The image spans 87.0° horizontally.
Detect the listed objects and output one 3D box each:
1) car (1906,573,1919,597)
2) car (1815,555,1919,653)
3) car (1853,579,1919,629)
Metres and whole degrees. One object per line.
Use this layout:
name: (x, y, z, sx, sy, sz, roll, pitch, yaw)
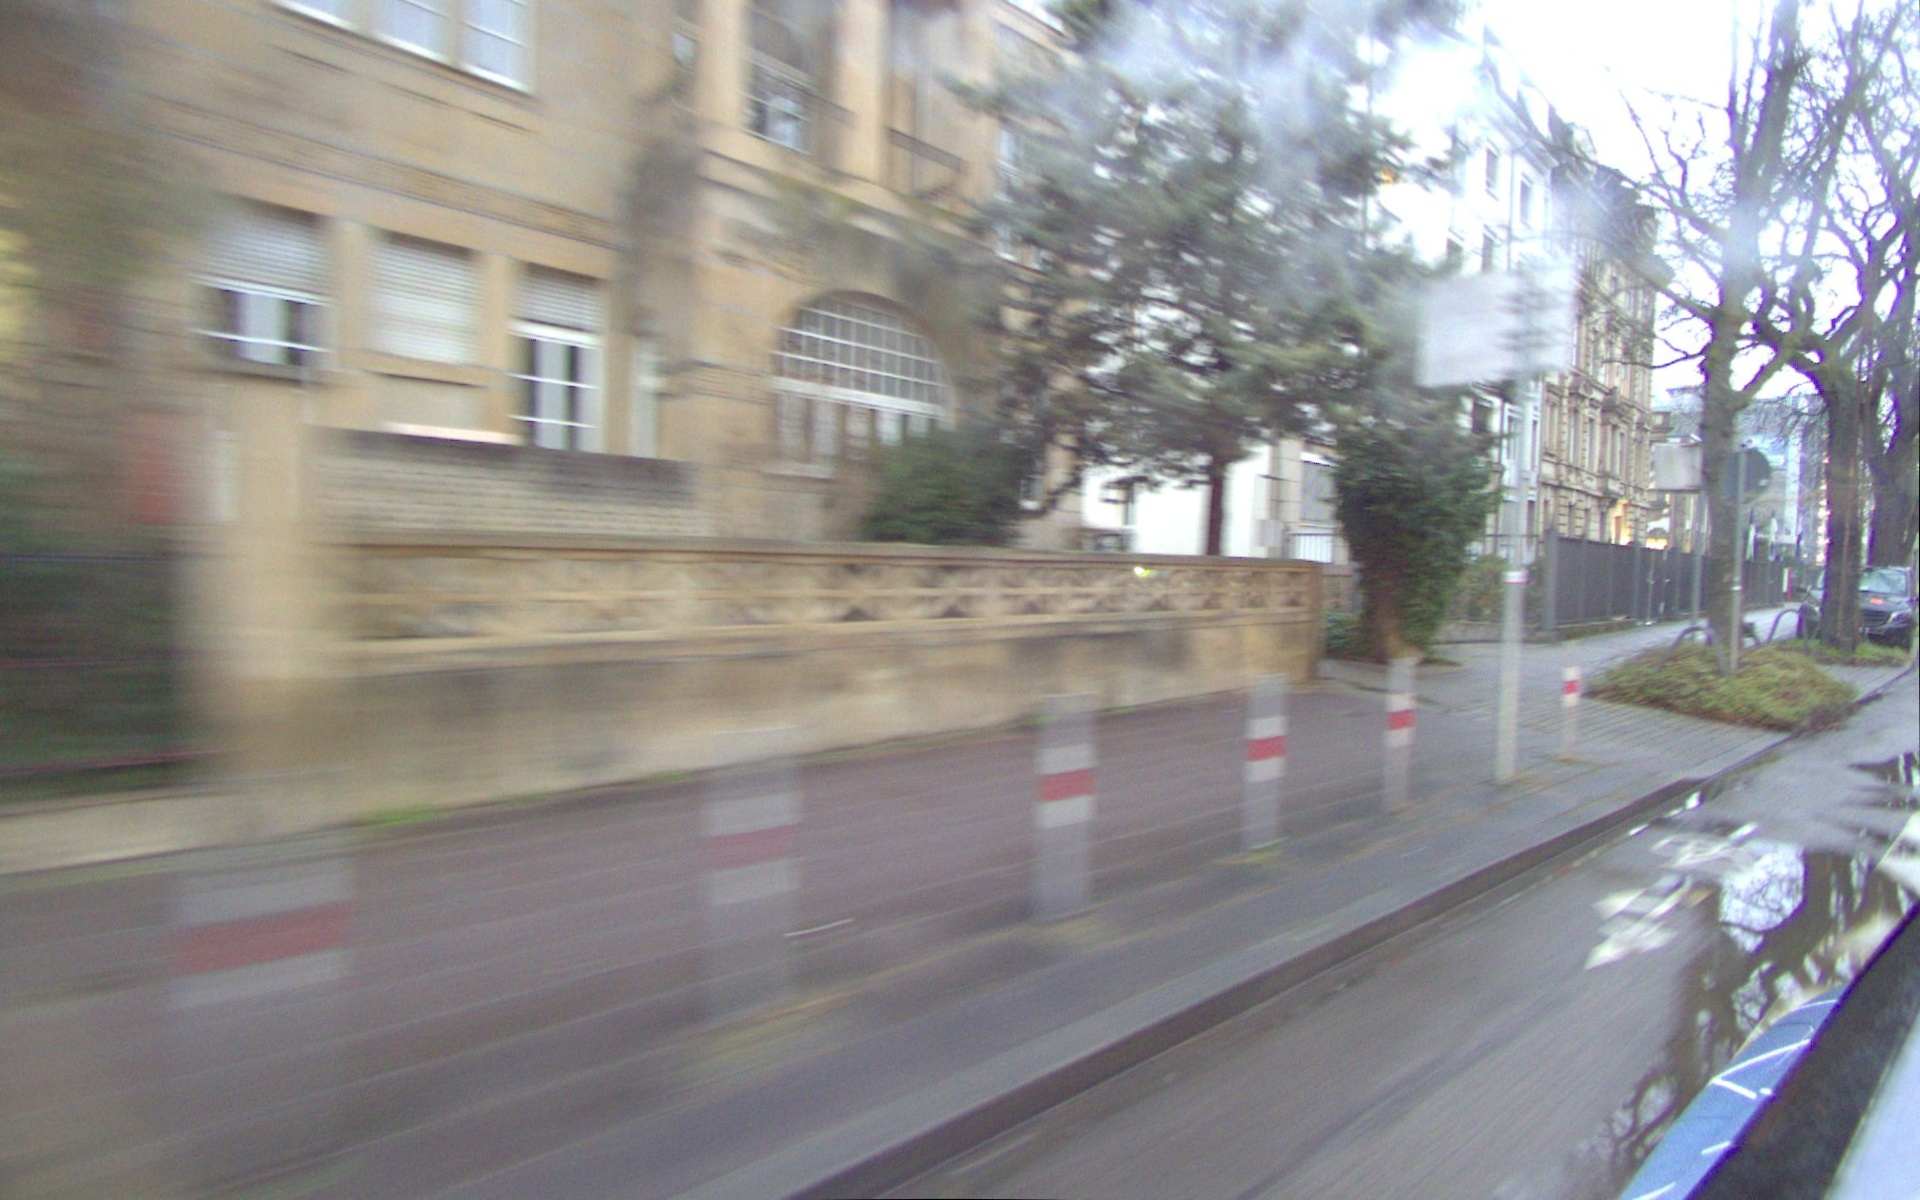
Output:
car: (61.397, -0.948, 64.306, 1.721, 1.430, 3.786, 4, 3, 41)
car: (20.154, 0.046, 22.336, 1.721, 1.970, 4.439, -1, 0, 43)
car: (28.134, 0.083, 30.554, 1.720, 1.431, 3.786, -1, 0, 41)
